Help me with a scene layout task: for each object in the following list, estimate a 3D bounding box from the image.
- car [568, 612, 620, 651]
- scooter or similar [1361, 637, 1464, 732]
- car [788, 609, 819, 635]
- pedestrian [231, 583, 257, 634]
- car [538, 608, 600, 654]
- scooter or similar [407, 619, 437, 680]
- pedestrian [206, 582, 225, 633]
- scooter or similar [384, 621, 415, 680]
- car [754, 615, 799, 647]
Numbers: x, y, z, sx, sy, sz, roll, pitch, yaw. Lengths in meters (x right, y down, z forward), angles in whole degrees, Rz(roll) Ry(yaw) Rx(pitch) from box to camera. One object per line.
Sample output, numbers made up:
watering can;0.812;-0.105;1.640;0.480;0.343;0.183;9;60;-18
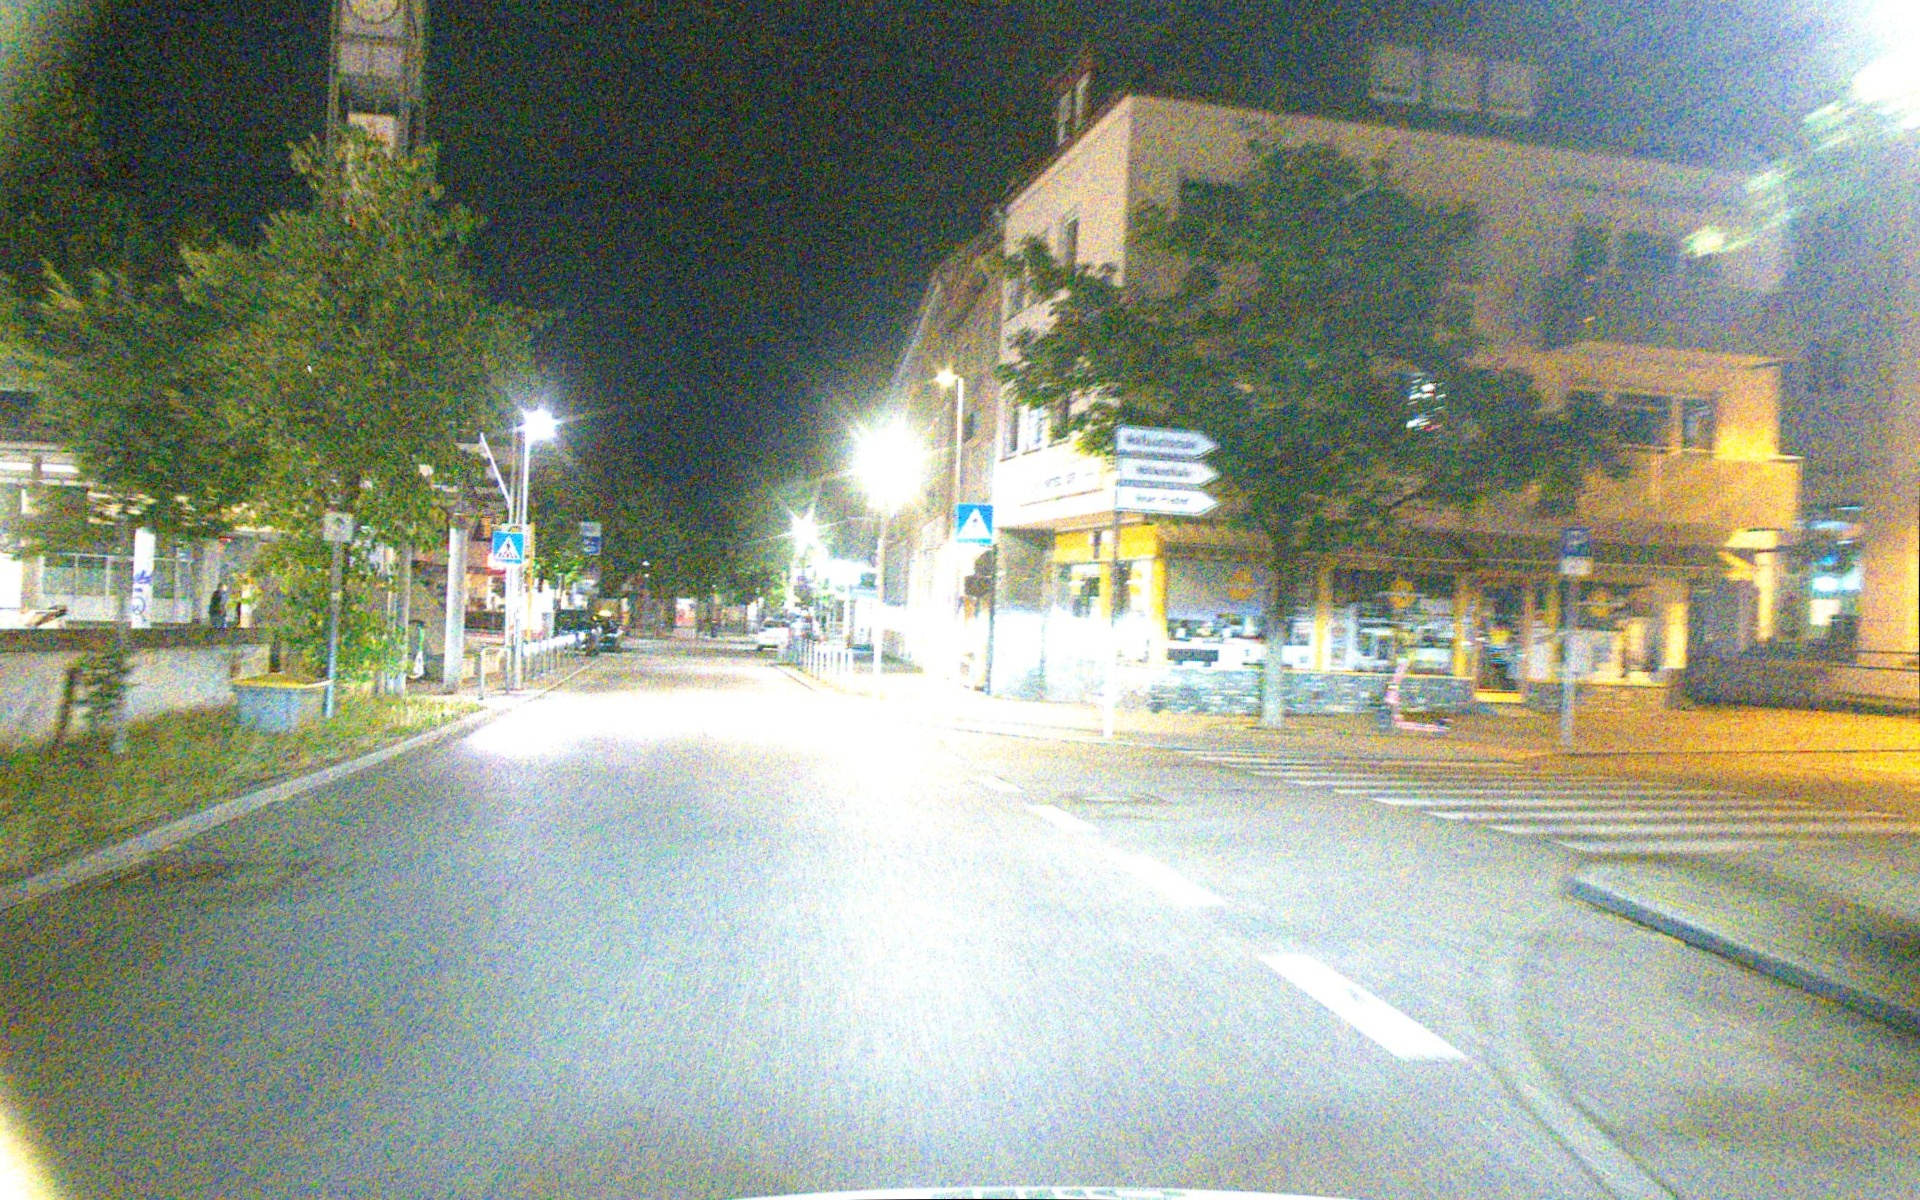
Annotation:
car;-14.876;1.252;67.168;1.804;1.478;3.982;0;1;-16
scooter or similar;6.402;1.191;23.421;1.221;1.248;0.598;3;1;-3
car;-10.071;1.395;106.379;1.678;1.574;3.530;1;0;-11
pedestrian;-21.973;0.256;50.755;0.516;1.573;0.512;1;0;13
car;-13.341;1.064;56.550;1.800;1.478;3.990;1;-1;-10
scooter or similar;-10.575;0.971;32.522;0.422;1.154;1.002;1;0;-10
pedestrian;-22.895;0.231;50.853;0.451;1.573;0.479;1;0;-16
scooter or similar;-11.007;0.980;32.490;0.422;1.126;1.002;1;0;-10
car;-8.577;1.432;77.228;1.801;1.382;3.990;1;1;-11
